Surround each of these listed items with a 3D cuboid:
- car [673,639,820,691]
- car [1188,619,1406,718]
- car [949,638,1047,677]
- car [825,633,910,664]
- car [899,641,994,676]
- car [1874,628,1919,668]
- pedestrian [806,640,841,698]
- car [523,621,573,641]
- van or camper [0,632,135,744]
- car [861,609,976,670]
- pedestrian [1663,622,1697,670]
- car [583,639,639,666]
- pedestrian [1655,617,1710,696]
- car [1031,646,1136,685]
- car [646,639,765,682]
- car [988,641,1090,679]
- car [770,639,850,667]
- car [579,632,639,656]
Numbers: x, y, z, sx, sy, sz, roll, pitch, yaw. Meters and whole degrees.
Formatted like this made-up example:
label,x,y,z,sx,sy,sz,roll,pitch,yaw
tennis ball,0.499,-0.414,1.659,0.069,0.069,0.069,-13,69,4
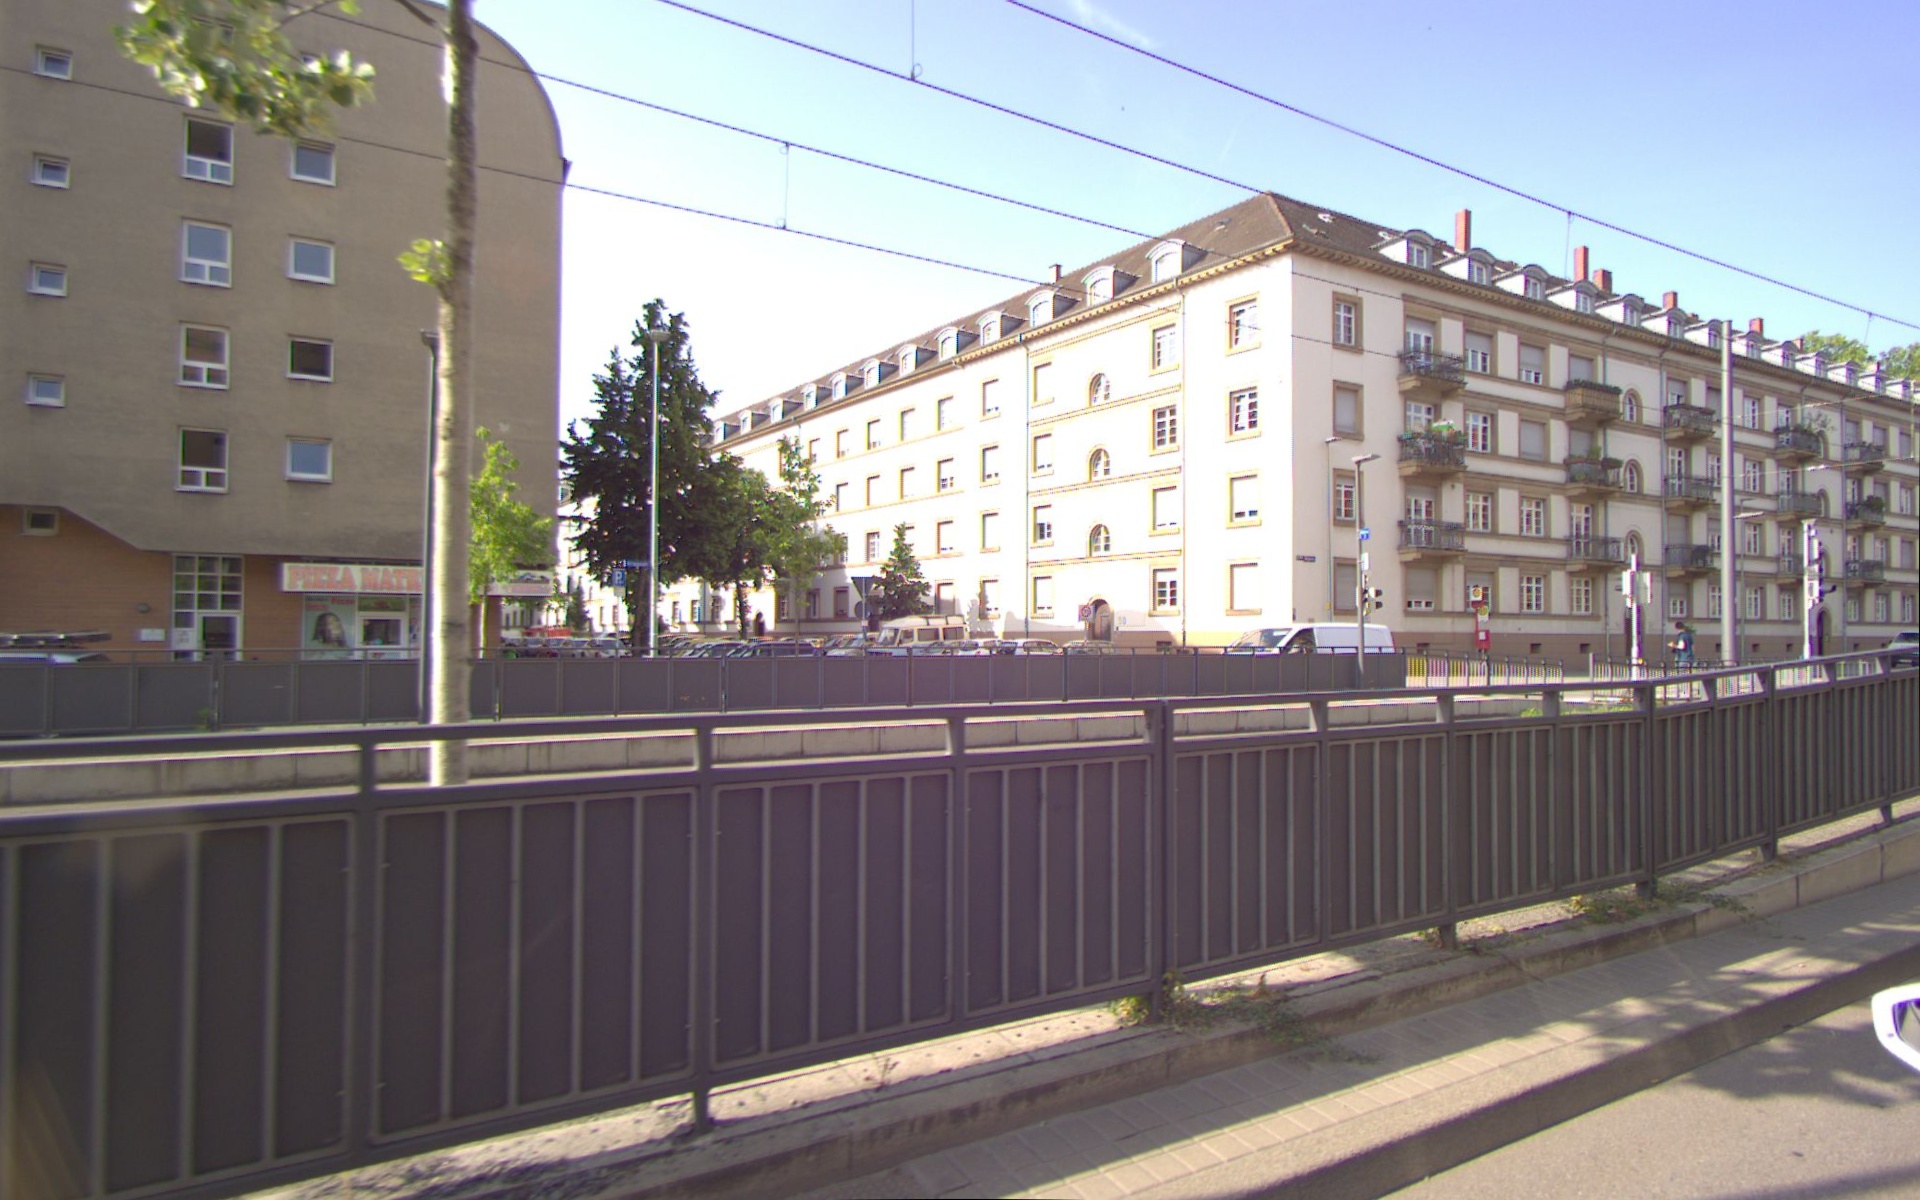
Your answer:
label,x,y,z,sx,sy,sz,roll,pitch,yaw
car,-7.080,2.114,33.475,4.508,1.620,1.753,1,-2,-34
car,7.683,1.480,22.776,4.874,2.040,1.984,1,-2,-30
car,1.610,2.375,42.152,3.886,1.553,1.662,1,-2,-35
car,-4.513,2.361,49.297,3.856,1.434,1.662,1,-2,-35
car,-0.574,2.502,43.630,3.886,1.434,1.662,1,-2,-35
car,50.203,2.488,52.543,5.089,1.943,1.985,1,0,-29
pedestrian,-3.889,1.941,28.582,0.799,1.604,0.674,1,-2,-32
car,-39.130,2.928,95.396,4.028,1.873,1.954,2,-2,-38
van or camper,-18.102,1.595,18.607,3.945,1.994,1.925,1,-2,-25
car,-1.846,1.797,45.658,5.005,2.617,1.980,1,-2,-36
pedestrian,32.080,2.030,44.755,1.142,2.096,0.839,1,-1,-28
car,-18.482,2.746,53.141,1.811,1.394,3.962,1,-2,-34
pedestrian,17.939,1.389,24.962,1.053,1.892,0.862,-1,-2,34
car,4.680,2.425,37.930,3.961,1.372,1.569,2,-2,-36
car,-9.527,2.226,37.671,3.955,1.528,1.983,1,-2,-32
car,3.176,2.343,40.094,3.959,1.424,1.662,1,-2,-35
car,-7.935,2.795,53.215,3.856,1.434,1.662,1,-2,-35
car,-27.031,3.353,77.297,3.964,1.817,1.979,2,-2,-38
